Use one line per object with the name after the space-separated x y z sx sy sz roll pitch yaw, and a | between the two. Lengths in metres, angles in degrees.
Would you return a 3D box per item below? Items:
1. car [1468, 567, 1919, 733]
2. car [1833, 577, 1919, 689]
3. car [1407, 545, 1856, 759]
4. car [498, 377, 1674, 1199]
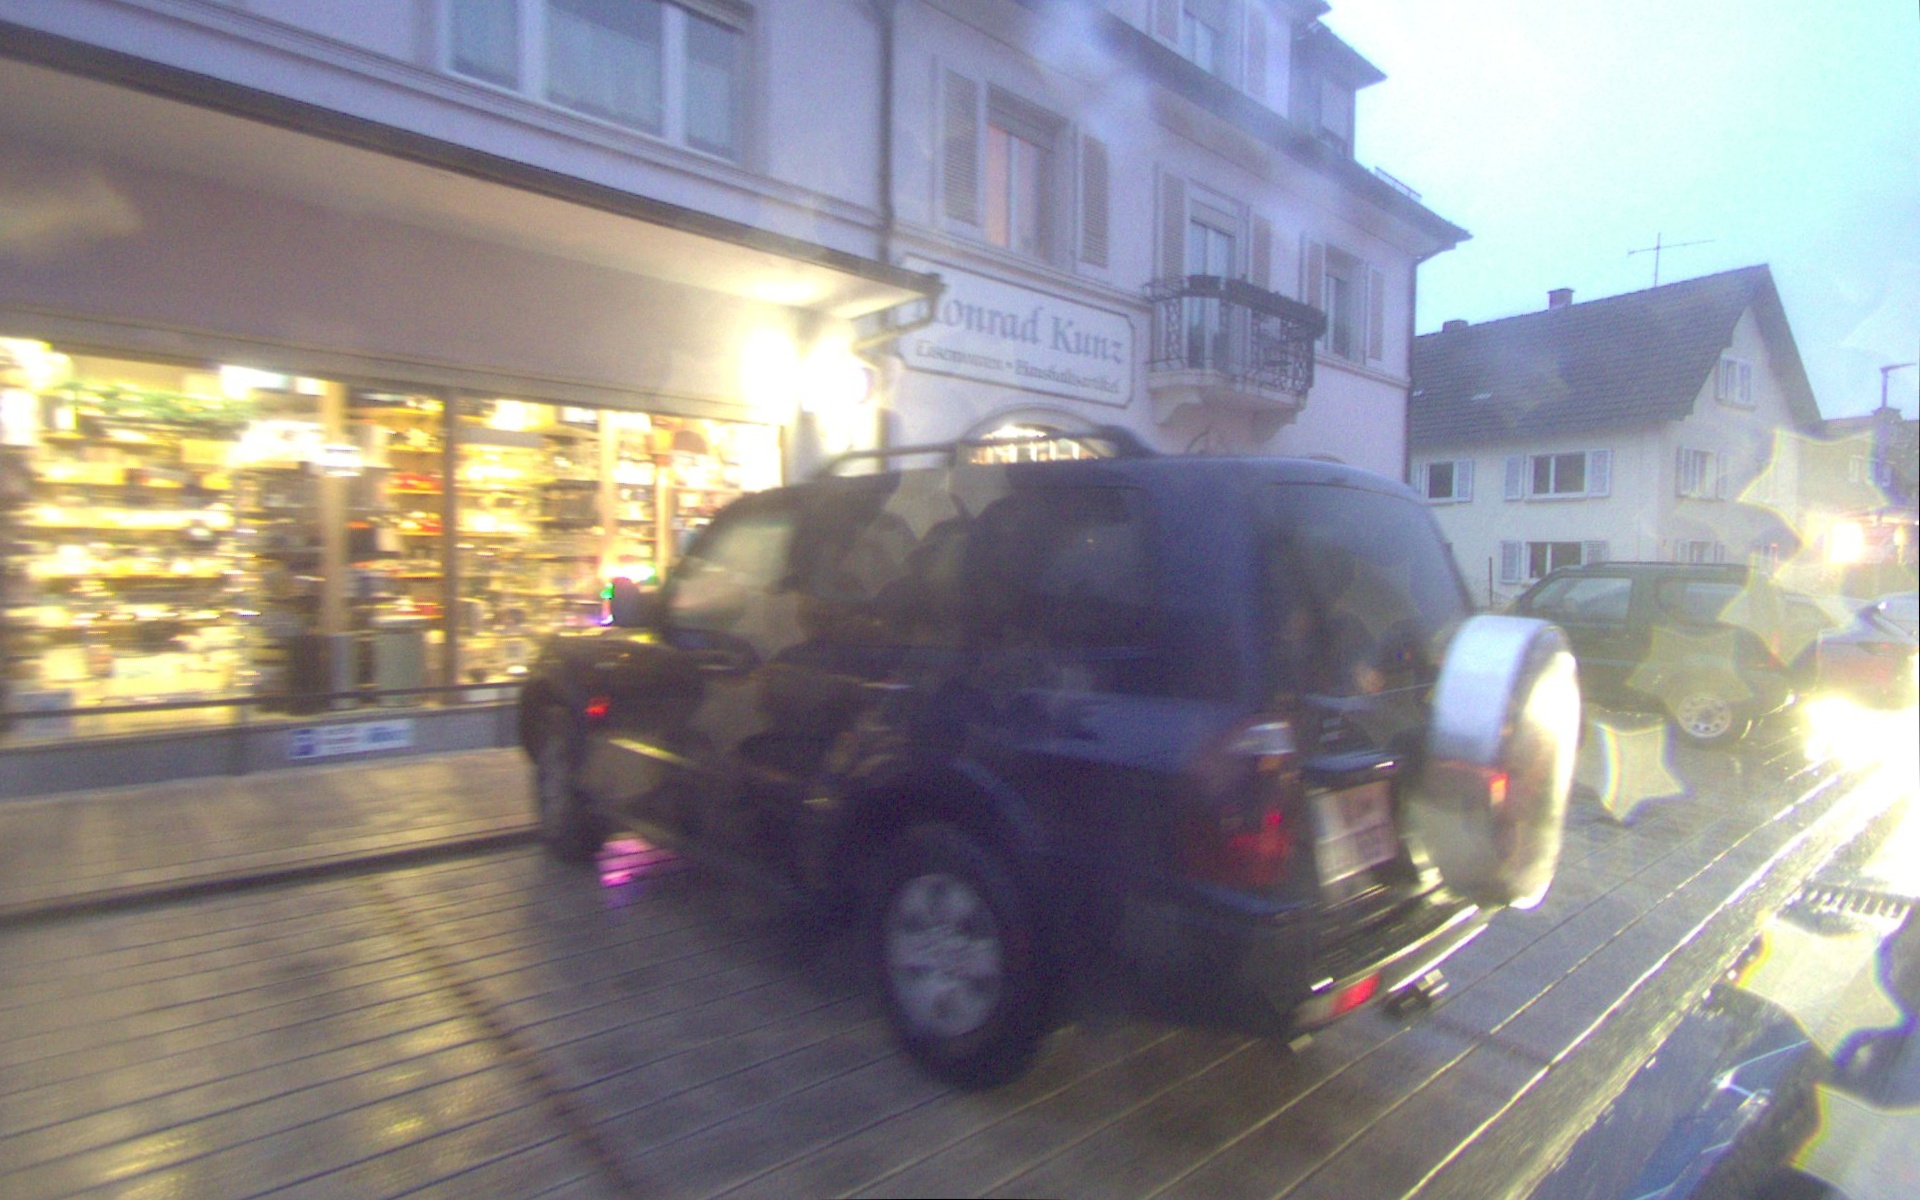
8.863 0.449 12.225 1.865 1.491 4.476 0 3 -41 | car
15.530 0.491 15.877 4.586 1.566 1.888 0 3 -38 | car
6.734 0.368 10.375 1.688 1.701 3.507 0 4 -45 | car
-0.058 0.387 4.176 1.913 1.797 4.608 0 2 -44 | car
